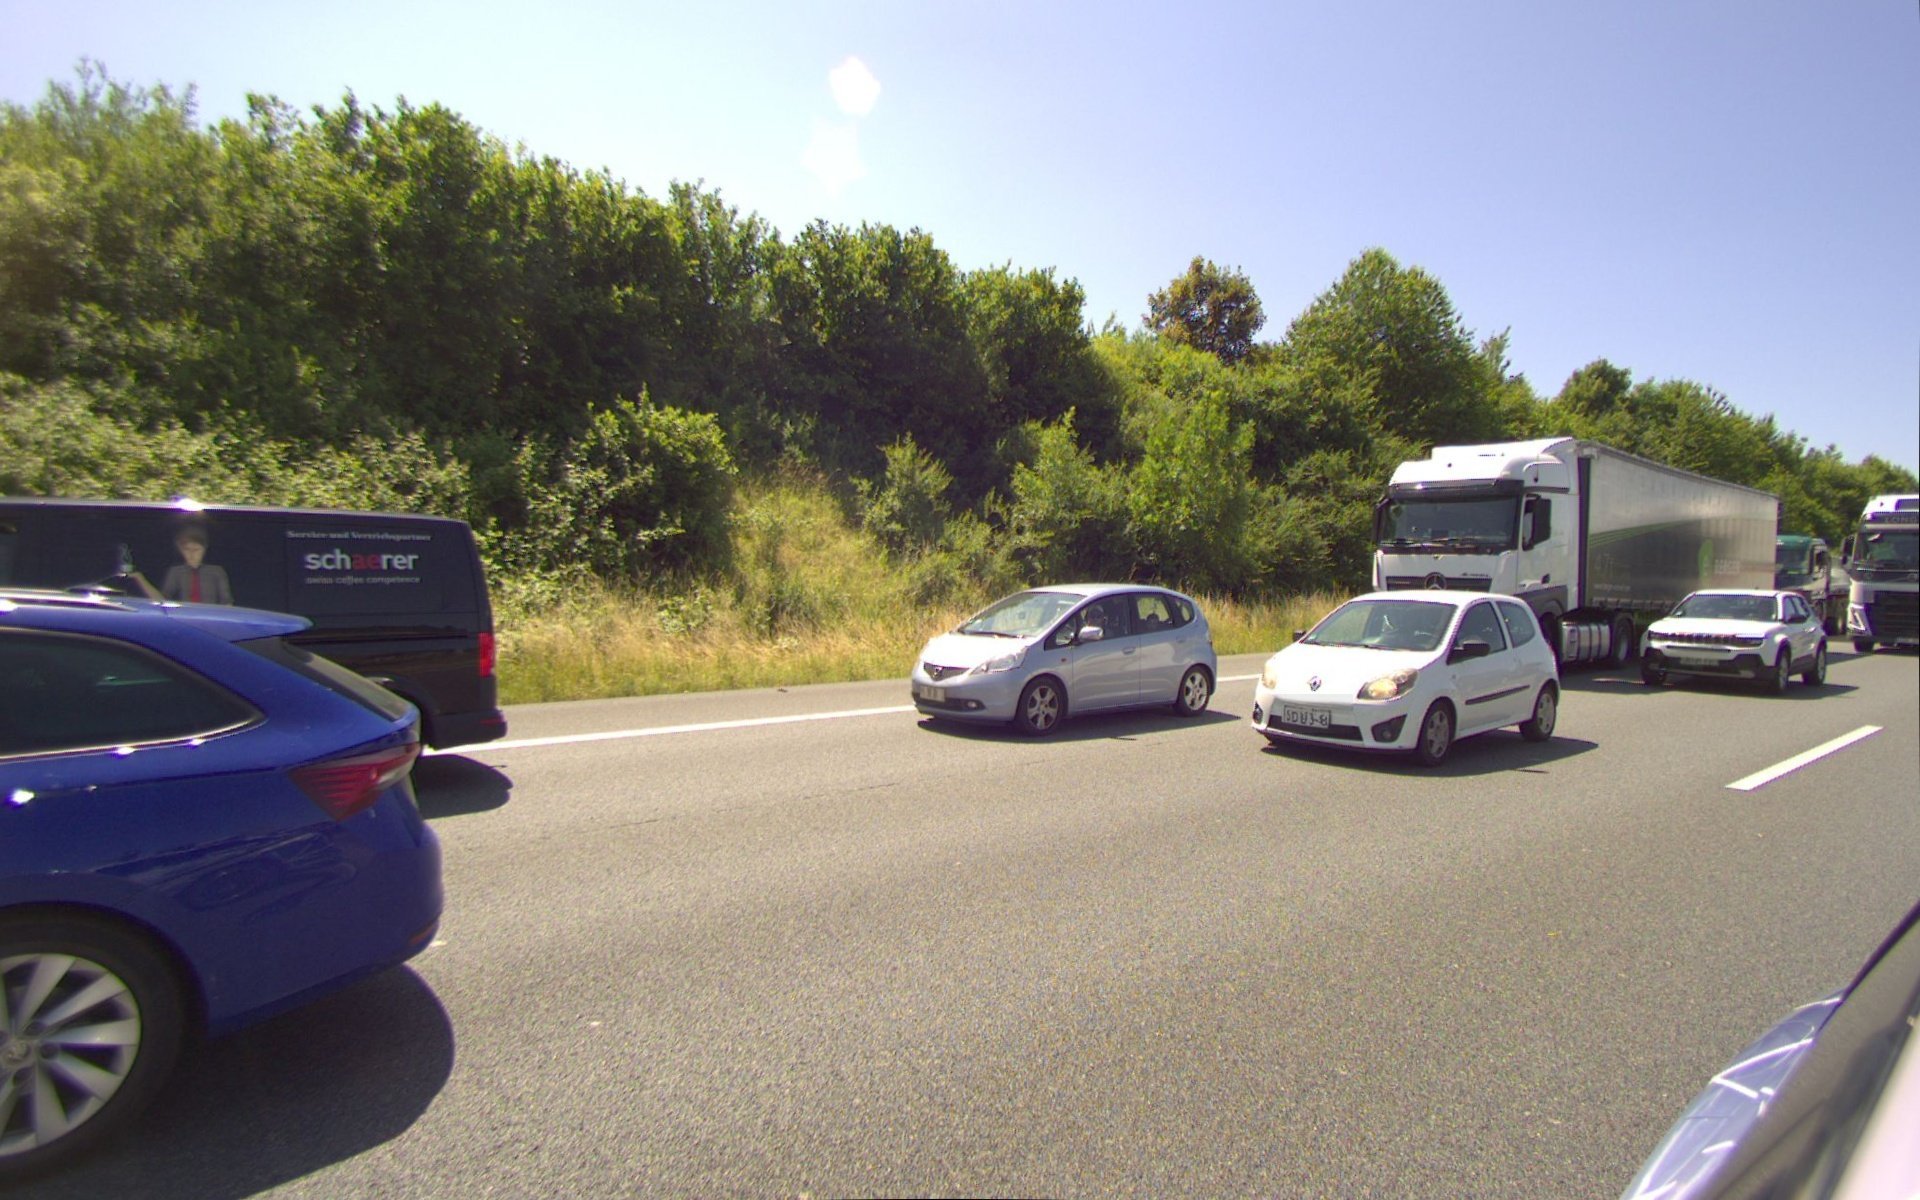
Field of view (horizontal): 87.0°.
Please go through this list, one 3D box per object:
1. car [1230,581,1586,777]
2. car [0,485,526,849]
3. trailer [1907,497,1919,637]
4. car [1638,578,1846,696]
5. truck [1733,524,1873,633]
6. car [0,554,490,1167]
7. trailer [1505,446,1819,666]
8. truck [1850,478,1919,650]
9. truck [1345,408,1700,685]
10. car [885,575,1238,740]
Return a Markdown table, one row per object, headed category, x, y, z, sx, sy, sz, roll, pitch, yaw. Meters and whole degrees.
| category | x | y | z | sx | sy | sz | roll | pitch | yaw |
| --- | --- | --- | --- | --- | --- | --- | --- | --- | --- |
| car | 4.390 | 0.582 | 9.688 | 3.742 | 1.451 | 1.609 | -1 | 3 | -40 |
| car | -5.517 | 0.325 | 6.407 | 4.770 | 1.964 | 1.918 | -1 | 2 | -39 |
| trailer | 31.920 | -0.983 | 31.116 | 8.990 | 4.023 | 2.776 | -1 | 2 | -39 |
| car | 12.358 | 0.472 | 15.927 | 3.815 | 1.577 | 1.748 | -1 | 3 | -39 |
| truck | 26.903 | -0.701 | 32.224 | 5.572 | 3.185 | 2.300 | -1 | 1 | -38 |
| car | -3.707 | 0.615 | 2.293 | 4.494 | 1.433 | 1.779 | -2 | 4 | -42 |
| trailer | 17.189 | -0.940 | 24.207 | 11.857 | 4.208 | 2.880 | -1 | 2 | -39 |
| truck | 25.881 | -0.887 | 26.260 | 8.209 | 4.044 | 2.750 | -1 | 2 | -39 |
| truck | 10.880 | -0.889 | 19.123 | 8.321 | 4.208 | 2.880 | -1 | 2 | -39 |
| car | 1.226 | 0.497 | 11.195 | 3.853 | 1.479 | 1.666 | -1 | 3 | -40 |
